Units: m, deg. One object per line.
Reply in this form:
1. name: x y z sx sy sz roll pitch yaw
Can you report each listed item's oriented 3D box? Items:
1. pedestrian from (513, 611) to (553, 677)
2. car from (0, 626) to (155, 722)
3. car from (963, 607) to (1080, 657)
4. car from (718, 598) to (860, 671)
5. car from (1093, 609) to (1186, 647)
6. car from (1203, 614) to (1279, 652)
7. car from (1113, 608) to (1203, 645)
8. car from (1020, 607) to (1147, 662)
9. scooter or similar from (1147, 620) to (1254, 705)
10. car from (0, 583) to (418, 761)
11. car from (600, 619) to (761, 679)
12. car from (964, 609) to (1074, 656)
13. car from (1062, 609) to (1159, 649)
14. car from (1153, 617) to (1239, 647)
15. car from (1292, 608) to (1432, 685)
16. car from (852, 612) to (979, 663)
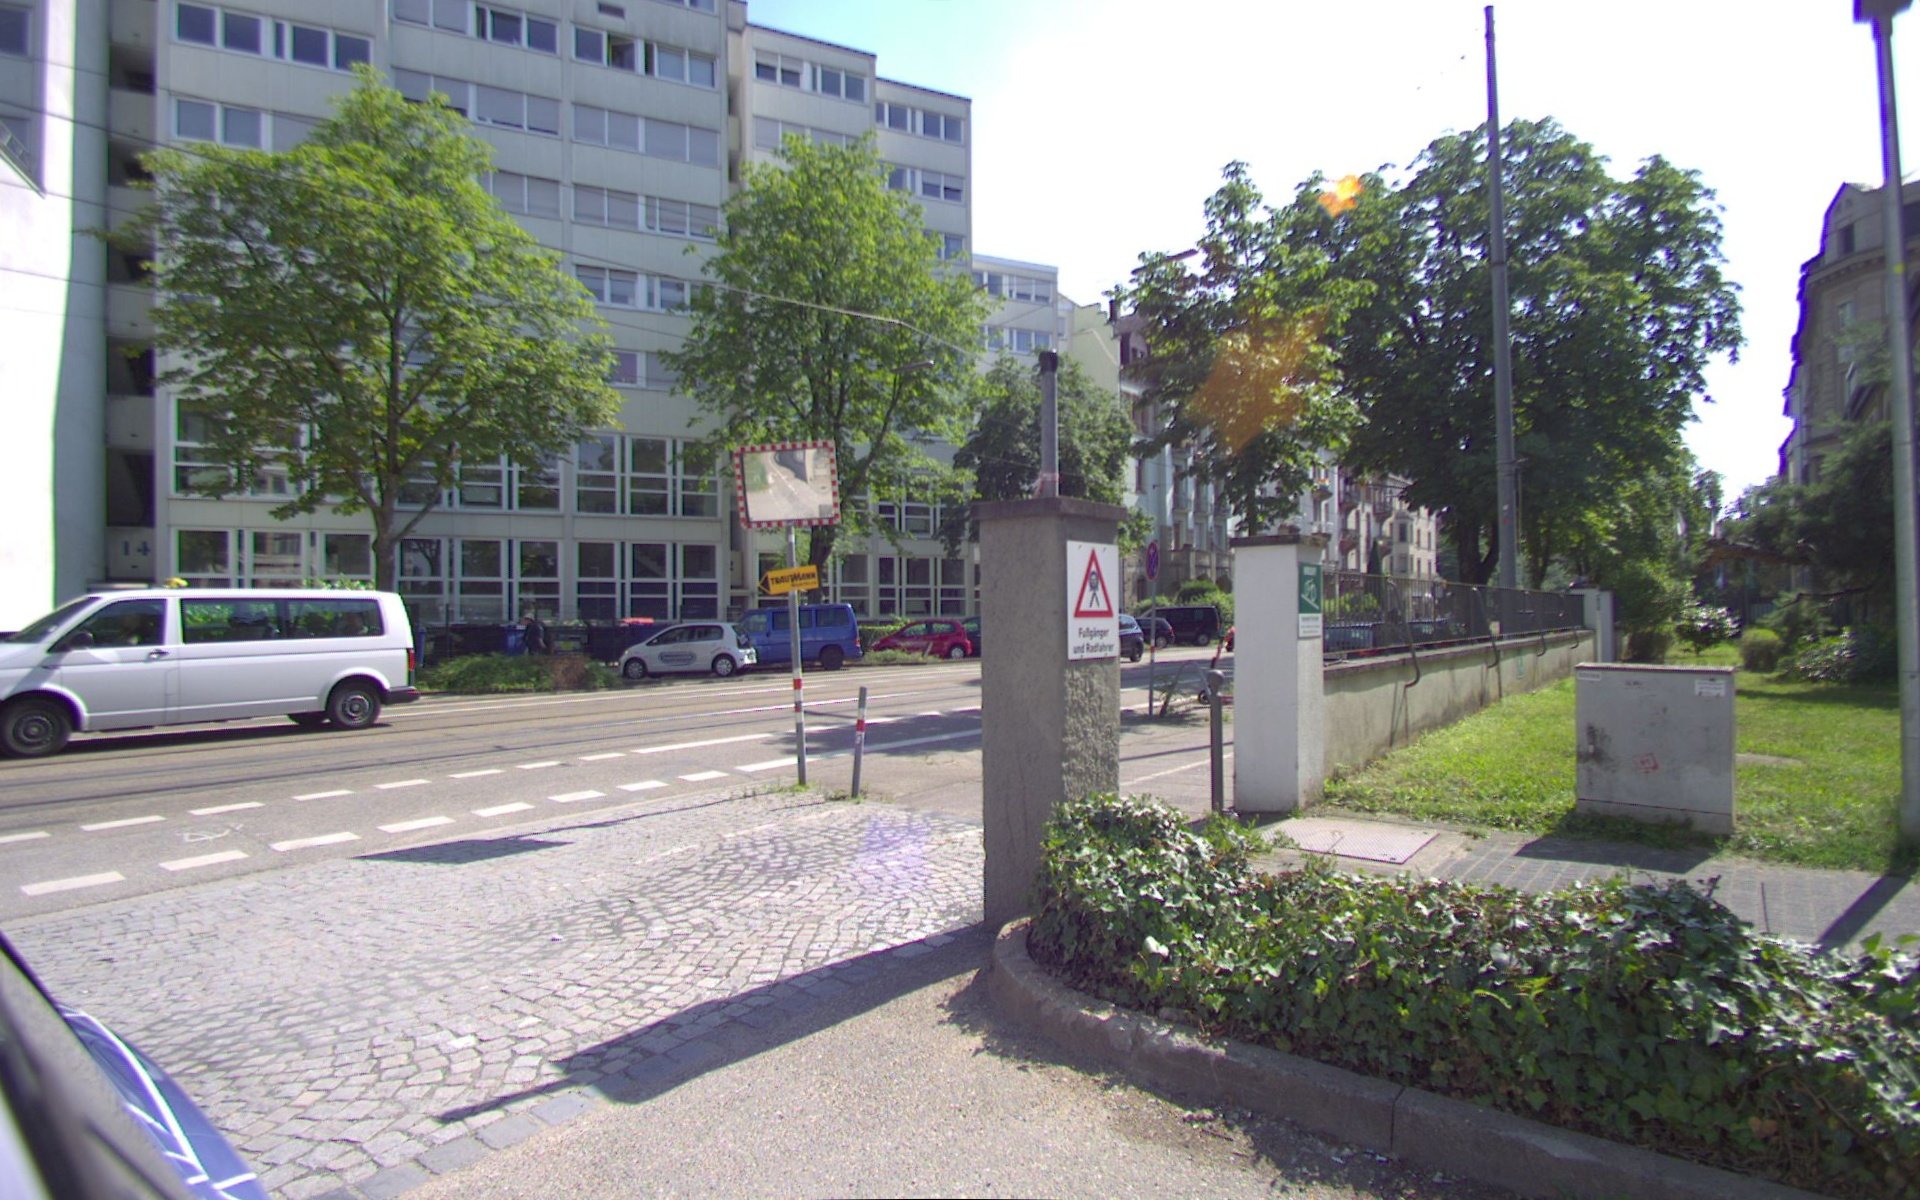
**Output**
1. pedestrian: -11.733 1.196 27.828 0.730 1.790 0.744 -2 -1 36
2. car: -16.191 1.218 16.773 4.117 1.487 1.805 -1 -1 -10
3. car: 2.219 1.172 37.249 3.937 1.652 1.807 -2 -1 -7
4. car: -4.957 0.996 29.599 3.937 1.921 1.790 -2 -1 -7
5. car: 8.394 1.295 47.584 3.940 1.674 1.831 -1 -1 -3
6. car: 11.705 1.332 42.014 1.659 1.423 4.124 -3 -2 36
7. car: 9.718 1.298 49.809 3.940 1.674 1.831 -1 -1 -3
8. car: 3.908 1.036 31.484 1.941 1.533 4.334 -3 -2 38
9. scooter or similar: 3.553 0.920 15.018 0.486 1.194 1.484 0 -2 -43
10. car: -10.223 0.822 13.227 1.994 1.960 5.182 -2 -1 38
11. car: -7.424 1.282 27.107 3.800 1.474 1.708 -1 -1 4
12. car: 2.274 1.275 39.572 3.937 1.652 1.835 -2 -1 -7
13. car: 6.702 1.298 45.264 3.940 1.674 1.831 -1 -1 -3
14. car: 12.131 1.639 52.145 3.938 1.428 1.787 -1 -2 -6
15. car: 8.908 0.977 22.262 1.732 1.487 3.948 -3 -2 39
16. car: -1.553 1.253 34.628 4.153 1.550 1.785 -2 -1 -7
